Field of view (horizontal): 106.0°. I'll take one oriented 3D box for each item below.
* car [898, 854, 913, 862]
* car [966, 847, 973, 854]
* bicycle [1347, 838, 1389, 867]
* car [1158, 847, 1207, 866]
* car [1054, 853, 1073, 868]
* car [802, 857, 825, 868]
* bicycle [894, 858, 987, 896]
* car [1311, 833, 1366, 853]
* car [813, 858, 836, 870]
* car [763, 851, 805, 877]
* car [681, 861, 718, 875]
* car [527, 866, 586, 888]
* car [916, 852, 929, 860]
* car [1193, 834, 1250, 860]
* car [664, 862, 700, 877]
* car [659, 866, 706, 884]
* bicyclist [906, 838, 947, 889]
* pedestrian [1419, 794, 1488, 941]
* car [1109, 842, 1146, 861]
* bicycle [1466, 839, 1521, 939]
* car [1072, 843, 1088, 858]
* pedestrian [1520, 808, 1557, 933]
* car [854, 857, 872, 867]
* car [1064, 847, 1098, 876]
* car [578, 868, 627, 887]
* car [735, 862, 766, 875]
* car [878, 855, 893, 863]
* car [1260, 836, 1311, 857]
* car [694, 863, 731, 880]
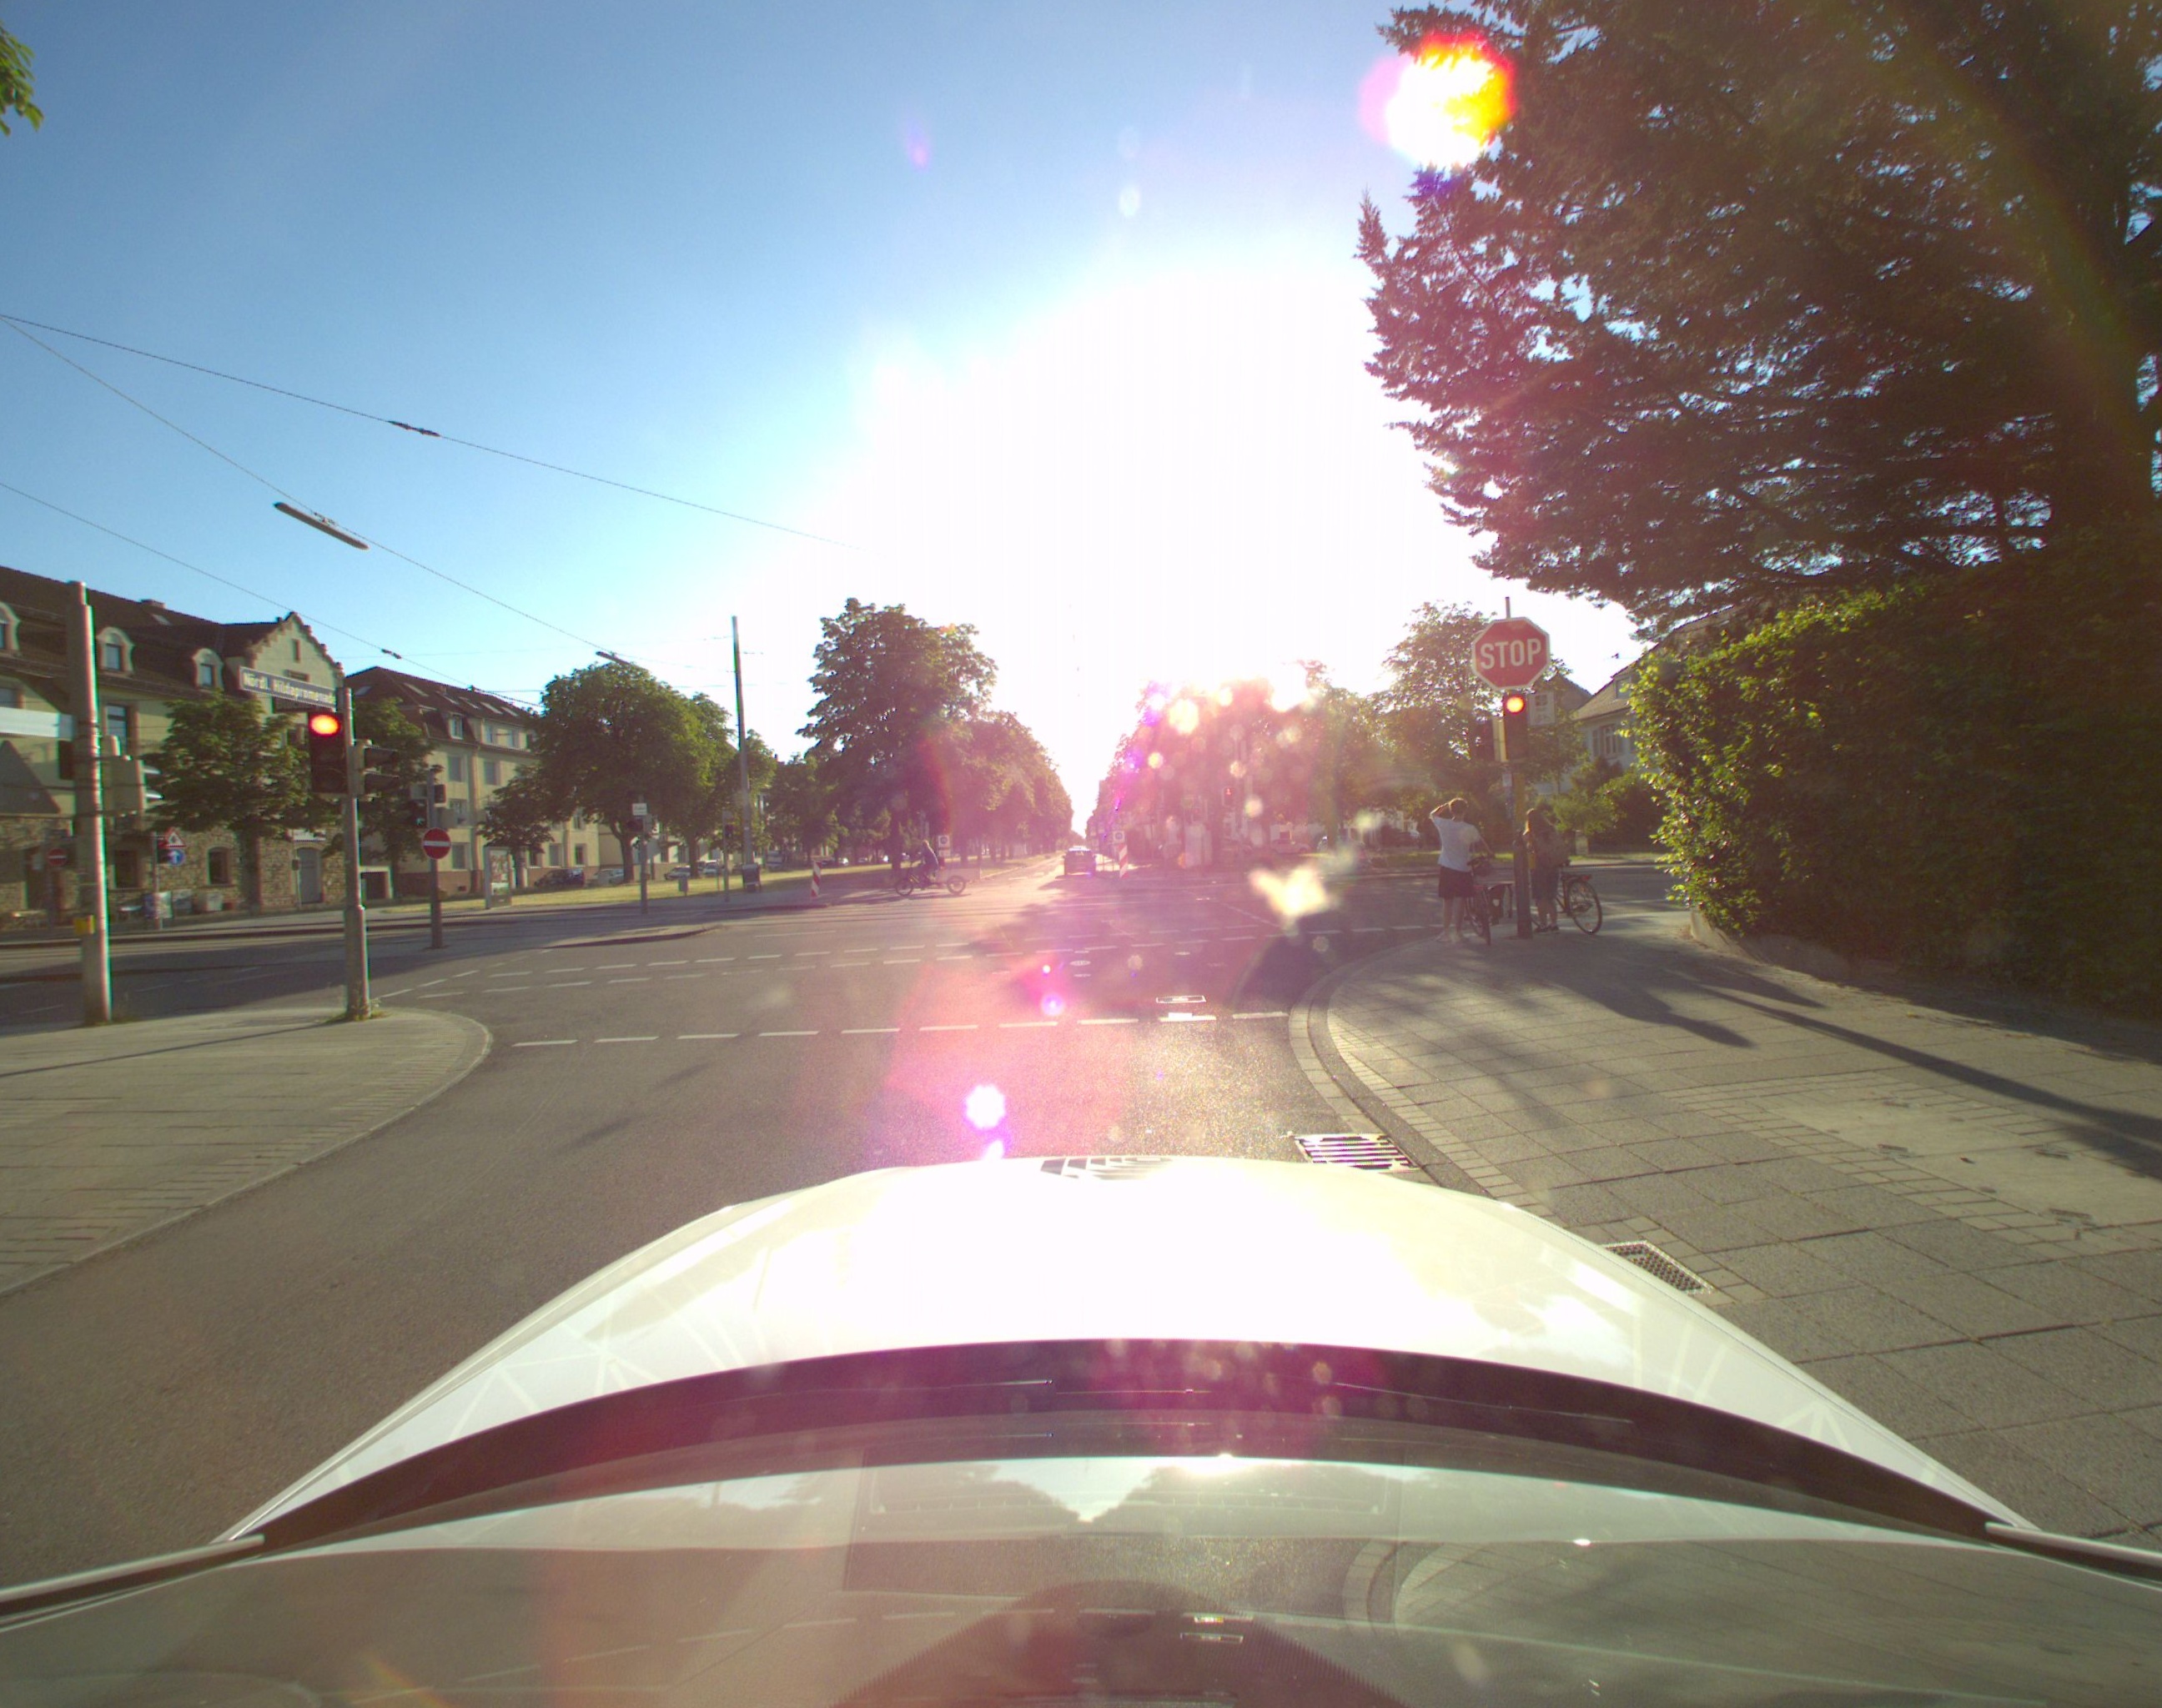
[{"bbox_3d":[-36.313,0.896,168.674,2.016,1.659,3.984,0,-1,1],"label":"car"},{"bbox_3d":[-35.030,-1.015,255.155,1.649,1.938,3.566,0,-2,-1],"label":"car"},{"bbox_3d":[11.545,-0.059,32.767,1.512,1.089,0.469,-2,5,9],"label":"bicycle"},{"bbox_3d":[8.754,0.238,70.596,3.975,1.447,1.715,-2,-1,-1],"label":"car"},{"bbox_3d":[-1.680,0.627,78.406,1.704,1.359,4.202,0,0,0],"label":"car"},{"bbox_3d":[-41.989,1.329,127.964,1.986,1.659,4.376,0,-1,2],"label":"car"},{"bbox_3d":[-4.932,0.799,28.738,3.059,1.161,0.876,-3,-1,4],"label":"bicycle"},{"bbox_3d":[20.749,-0.870,65.633,3.915,1.524,1.521,-1,-1,-5],"label":"car"},{"bbox_3d":[-37.108,1.435,117.733,1.873,1.674,4.315,0,0,1],"label":"car"},{"bbox_3d":[-37.166,1.154,102.227,2.384,3.131,7.853,0,0,0],"label":"car"},{"bbox_3d":[-44.032,1.589,94.158,1.986,1.659,4.572,0,-1,2],"label":"car"},{"bbox_3d":[-43.252,1.898,67.238,1.986,1.736,4.313,0,-1,2],"label":"car"},{"bbox_3d":[-36.625,0.433,188.071,1.987,1.658,4.570,-2,0,0],"label":"car"},{"bbox_3d":[11.269,-0.538,65.452,4.228,1.875,2.030,-2,-1,-1],"label":"car"},{"bbox_3d":[-42.813,1.656,87.518,1.709,1.633,4.192,0,-1,2],"label":"car"},{"bbox_3d":[-37.468,1.953,76.717,1.986,1.659,4.572,0,-1,2],"label":"car"},{"bbox_3d":[-5.466,0.346,28.794,1.139,1.723,0.876,-3,-1,4],"label":"bicyclist"},{"bbox_3d":[4.987,0.170,10.945,0.622,1.866,0.778,-6,-1,20],"label":"pedestrian"},{"bbox_3d":[5.339,-0.301,93.590,3.980,1.822,1.757,-3,-5,-5],"label":"car"},{"bbox_3d":[5.330,0.397,10.598,0.567,1.184,1.916,0,1,25],"label":"bicycle"},{"bbox_3d":[-0.122,-0.447,103.946,1.987,1.781,3.999,0,1,-1],"label":"car"},{"bbox_3d":[5.938,0.211,10.583,0.346,1.585,0.465,-1,-1,23],"label":"pedestrian"},{"bbox_3d":[-36.914,1.338,137.923,1.805,1.781,4.123,0,-1,1],"label":"car"},{"bbox_3d":[0.049,0.393,44.702,1.719,1.511,4.542,0,0,2],"label":"car"},{"bbox_3d":[-43.116,2.108,73.436,1.986,1.659,4.001,0,-1,2],"label":"car"},{"bbox_3d":[-42.178,1.827,103.918,1.986,1.659,4.572,0,-1,2],"label":"car"},{"bbox_3d":[-41.696,0.987,173.954,1.986,1.659,4.357,0,-1,2],"label":"car"},{"bbox_3d":[16.313,-0.573,65.109,3.548,1.516,1.602,-2,0,-6],"label":"car"},{"bbox_3d":[-37.350,1.737,82.707,1.791,1.554,4.417,0,1,-2],"label":"car"}]
